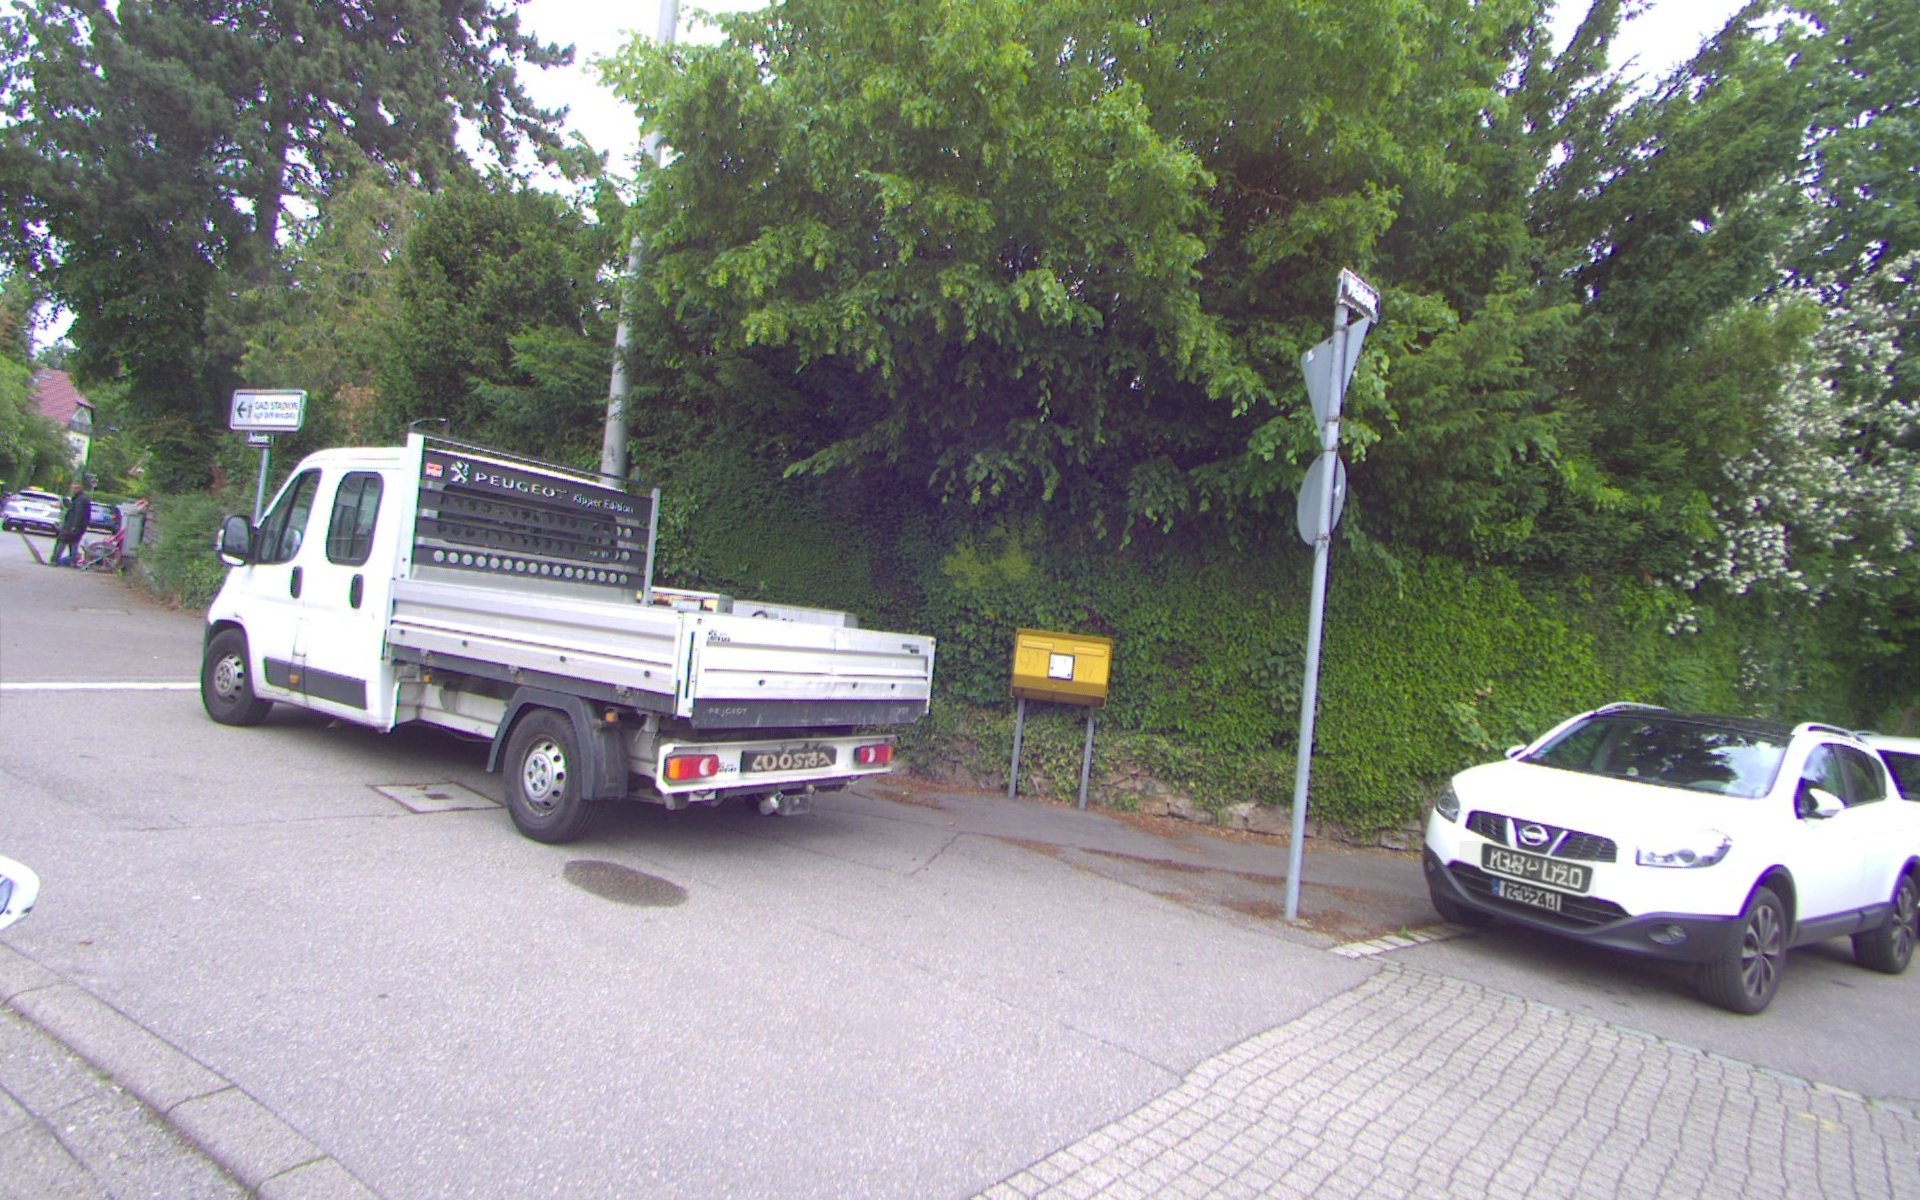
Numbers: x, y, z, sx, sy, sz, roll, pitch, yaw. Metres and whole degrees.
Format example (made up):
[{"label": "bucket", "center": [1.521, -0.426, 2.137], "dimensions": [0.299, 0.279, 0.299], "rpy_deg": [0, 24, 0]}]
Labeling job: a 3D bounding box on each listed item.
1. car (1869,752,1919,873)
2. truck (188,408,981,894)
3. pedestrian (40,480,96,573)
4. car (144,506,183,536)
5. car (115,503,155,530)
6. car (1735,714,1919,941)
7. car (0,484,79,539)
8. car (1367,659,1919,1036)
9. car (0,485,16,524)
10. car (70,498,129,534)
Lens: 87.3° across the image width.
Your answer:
[{"label": "car", "center": [13.860, 2.946, 13.485], "dimensions": [4.040, 1.440, 1.781], "rpy_deg": [8, -2, -38]}, {"label": "truck", "center": [-2.922, 0.089, 7.161], "dimensions": [5.631, 2.270, 2.211], "rpy_deg": [6, -2, 34]}, {"label": "pedestrian", "center": [-19.549, -1.604, 22.053], "dimensions": [0.549, 1.929, 0.597], "rpy_deg": [7, -1, 32]}, {"label": "car", "center": [-60.943, -6.032, 77.030], "dimensions": [1.910, 1.915, 4.859], "rpy_deg": [10, -2, -36]}, {"label": "car", "center": [-53.025, -5.365, 64.712], "dimensions": [1.685, 1.448, 3.710], "rpy_deg": [7, 0, -37]}, {"label": "car", "center": [9.057, 2.121, 9.469], "dimensions": [4.041, 1.641, 1.781], "rpy_deg": [9, -3, -38]}, {"label": "car", "center": [-35.942, -3.427, 39.319], "dimensions": [1.798, 1.775, 4.441], "rpy_deg": [7, 0, -37]}, {"label": "car", "center": [4.778, 1.475, 6.656], "dimensions": [4.098, 1.641, 1.783], "rpy_deg": [9, -2, -34]}, {"label": "car", "center": [-50.894, -5.087, 52.259], "dimensions": [1.901, 1.903, 5.092], "rpy_deg": [6, -1, -36]}, {"label": "car", "center": [-44.521, -4.332, 52.126], "dimensions": [1.790, 1.545, 4.697], "rpy_deg": [7, 0, -36]}]
